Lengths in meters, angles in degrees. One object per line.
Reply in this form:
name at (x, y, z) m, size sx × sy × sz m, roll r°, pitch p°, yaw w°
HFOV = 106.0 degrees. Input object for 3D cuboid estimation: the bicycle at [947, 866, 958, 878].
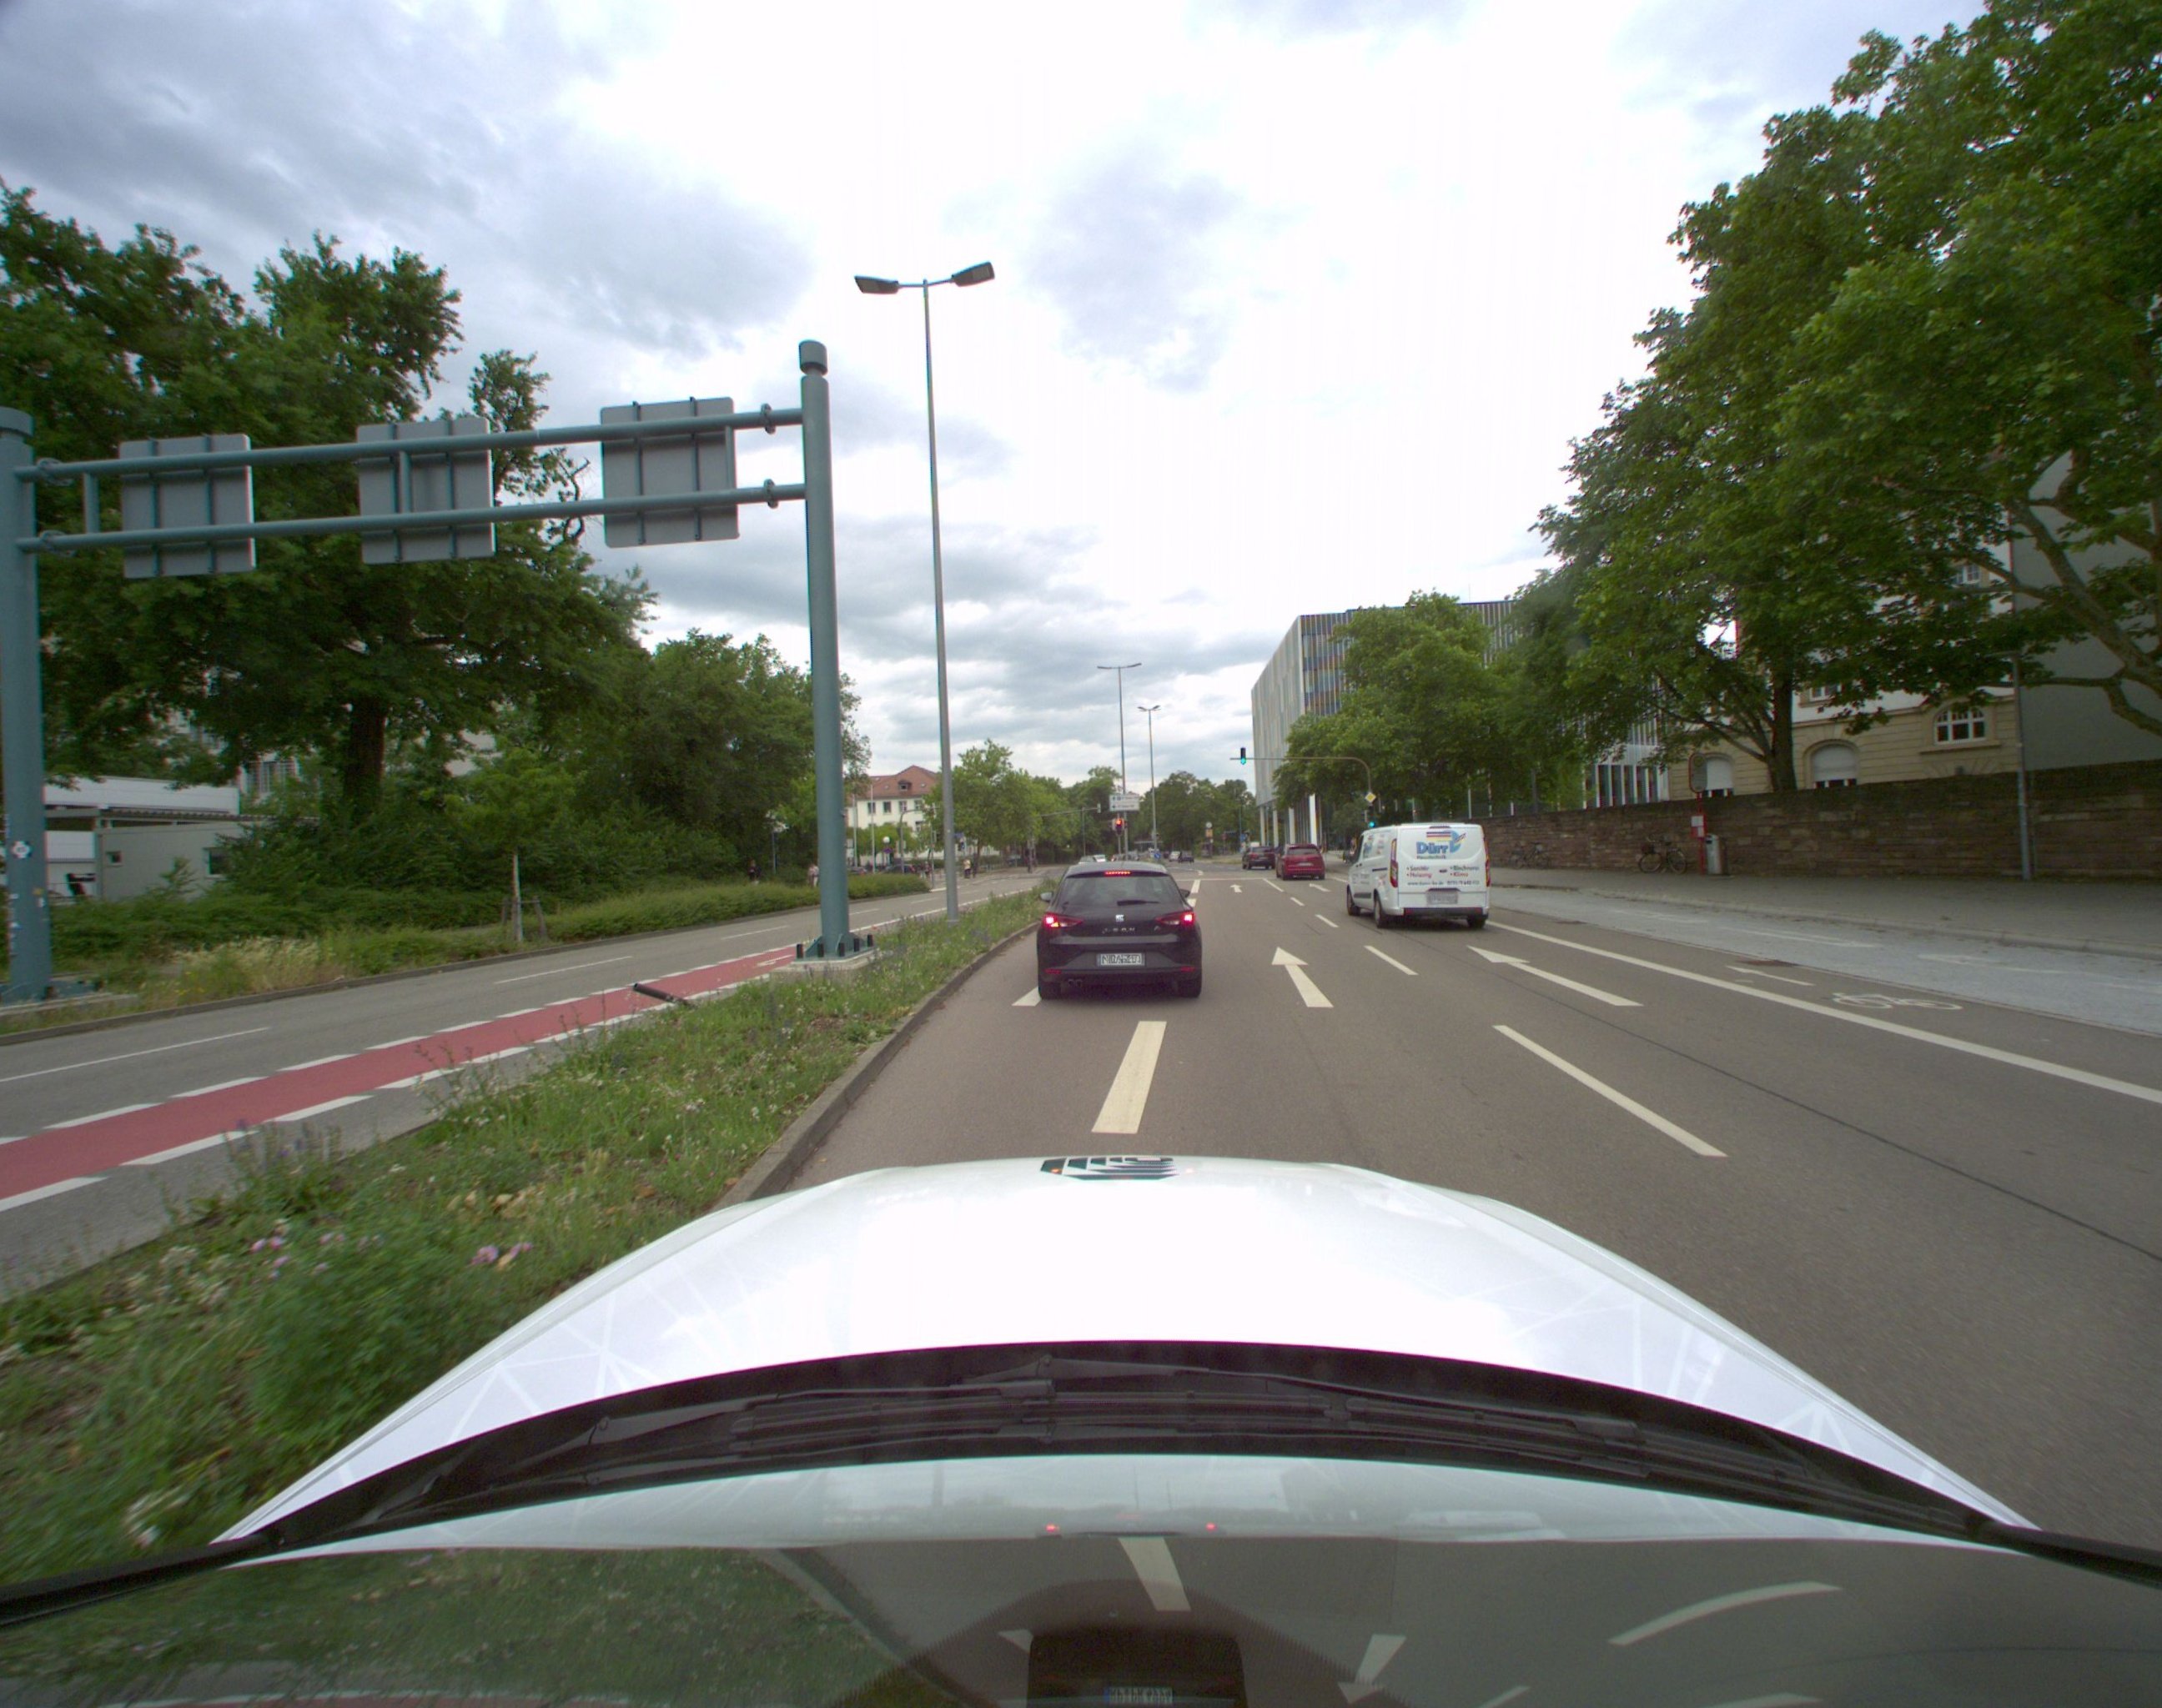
bicycle at (-11.225, 1.582, 71.175) m, size 0.664 × 1.062 × 1.619 m, roll -1°, pitch -1°, yaw 0°

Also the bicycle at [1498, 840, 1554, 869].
bicycle at (17.733, 0.031, 32.488) m, size 0.939 × 1.073 × 1.965 m, roll -4°, pitch 0°, yaw -6°

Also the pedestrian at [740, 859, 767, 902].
pedestrian at (-13.807, 1.113, 34.378) m, size 0.616 × 1.729 × 0.820 m, roll -4°, pitch 0°, yaw 8°

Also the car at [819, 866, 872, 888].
car at (-20.020, 1.973, 69.342) m, size 4.049 × 1.452 × 1.619 m, roll -3°, pitch 5°, yaw -9°

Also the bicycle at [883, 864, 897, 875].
bicycle at (-21.095, 1.731, 90.014) m, size 1.402 × 1.052 × 0.586 m, roll -4°, pitch 0°, yaw -12°

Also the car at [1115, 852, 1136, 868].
car at (4.446, 0.580, 80.776) m, size 1.755 × 1.460 × 4.799 m, roll -4°, pitch -1°, yaw 6°

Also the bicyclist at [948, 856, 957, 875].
bicyclist at (-11.237, 0.982, 71.204) m, size 0.664 × 1.635 × 0.961 m, roll -1°, pitch -1°, yaw 0°

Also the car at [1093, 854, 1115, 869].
car at (2.541, 0.808, 88.985) m, size 1.694 × 1.431 × 4.240 m, roll -4°, pitch 0°, yaw 11°

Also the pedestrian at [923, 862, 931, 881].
pedestrian at (-13.182, 1.474, 69.647) m, size 0.571 × 1.527 × 0.844 m, roll -2°, pitch -5°, yaw -15°

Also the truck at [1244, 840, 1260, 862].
truck at (18.158, -0.321, 86.405) m, size 1.310 × 2.243 × 3.410 m, roll -4°, pitch 0°, yaw 8°

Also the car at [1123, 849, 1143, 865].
car at (6.315, 0.342, 98.351) m, size 1.909 × 1.664 × 4.409 m, roll -4°, pitch -1°, yaw 9°

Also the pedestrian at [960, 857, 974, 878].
pedestrian at (-9.746, 1.138, 69.540) m, size 0.845 × 1.740 × 0.822 m, roll -1°, pitch -5°, yaw -30°

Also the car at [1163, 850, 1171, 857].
car at (16.218, -0.033, 153.479) m, size 1.498 × 1.193 × 3.168 m, roll -4°, pitch 0°, yaw 5°

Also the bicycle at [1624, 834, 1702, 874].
bicycle at (18.039, -0.001, 25.290) m, size 0.847 × 1.127 × 1.919 m, roll -4°, pitch 0°, yaw -6°

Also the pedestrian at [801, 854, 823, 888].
pedestrian at (-13.315, 0.853, 40.358) m, size 0.696 × 1.636 × 0.673 m, roll -4°, pitch 0°, yaw 8°

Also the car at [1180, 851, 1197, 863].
car at (13.356, 0.363, 101.694) m, size 1.890 × 1.354 × 3.888 m, roll -4°, pitch 0°, yaw 5°

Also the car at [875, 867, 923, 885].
car at (-15.622, 1.864, 69.892) m, size 3.641 × 1.223 × 1.565 m, roll -2°, pitch 7°, yaw 2°

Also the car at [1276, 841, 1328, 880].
car at (9.847, 0.265, 36.554) m, size 1.937 × 1.624 × 3.760 m, roll -1°, pitch 1°, yaw 10°

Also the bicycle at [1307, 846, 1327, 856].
bicycle at (24.702, -0.334, 85.106) m, size 1.888 × 0.898 × 0.694 m, roll -4°, pitch 0°, yaw -13°

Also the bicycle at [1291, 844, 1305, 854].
bicycle at (28.366, -0.642, 106.256) m, size 1.781 × 1.211 × 0.565 m, roll -4°, pitch 0°, yaw -26°

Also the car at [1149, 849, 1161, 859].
car at (12.785, -0.042, 141.188) m, size 1.689 × 1.503 × 4.012 m, roll -4°, pitch 0°, yaw 2°

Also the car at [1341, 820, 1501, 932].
car at (6.738, 0.375, 16.685) m, size 1.955 × 1.972 × 4.353 m, roll -1°, pitch 0°, yaw 8°

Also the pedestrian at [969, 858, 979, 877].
pedestrian at (-9.249, 1.186, 70.521) m, size 0.789 × 1.558 × 0.696 m, roll -2°, pitch -3°, yaw -12°

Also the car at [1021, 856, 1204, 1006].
car at (0.486, 0.753, 9.780) m, size 1.744 × 1.432 × 3.775 m, roll -1°, pitch 0°, yaw 6°

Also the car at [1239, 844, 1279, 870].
car at (12.534, 0.186, 57.483) m, size 1.907 × 1.664 × 4.116 m, roll -4°, pitch 0°, yaw 2°

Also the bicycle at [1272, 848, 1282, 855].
bicycle at (28.979, -0.438, 120.459) m, size 1.376 × 0.941 × 0.489 m, roll -3°, pitch 0°, yaw 15°

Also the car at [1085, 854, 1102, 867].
car at (1.842, 0.894, 119.322) m, size 1.895 × 1.716 × 4.010 m, roll -4°, pitch 0°, yaw 8°

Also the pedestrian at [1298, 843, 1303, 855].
pedestrian at (26.222, -0.579, 97.360) m, size 0.468 × 1.361 × 0.447 m, roll -4°, pitch 0°, yaw 18°

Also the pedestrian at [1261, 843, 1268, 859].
pedestrian at (21.320, -0.353, 94.795) m, size 0.683 × 1.781 × 0.679 m, roll -2°, pitch 0°, yaw 8°

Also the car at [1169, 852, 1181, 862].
car at (13.580, 0.399, 118.076) m, size 1.608 × 1.354 × 4.006 m, roll -4°, pitch 0°, yaw 6°

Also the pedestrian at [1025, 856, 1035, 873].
pedestrian at (-4.943, 1.050, 78.717) m, size 0.871 × 1.586 × 0.544 m, roll -4°, pitch 0°, yaw 2°

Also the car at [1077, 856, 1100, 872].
car at (0.758, 0.936, 77.237) m, size 1.598 × 1.381 × 3.818 m, roll -4°, pitch 0°, yaw 9°

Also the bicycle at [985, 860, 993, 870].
bicycle at (-10.565, 1.268, 93.475) m, size 0.605 × 1.060 × 2.046 m, roll -4°, pitch 0°, yaw 2°
